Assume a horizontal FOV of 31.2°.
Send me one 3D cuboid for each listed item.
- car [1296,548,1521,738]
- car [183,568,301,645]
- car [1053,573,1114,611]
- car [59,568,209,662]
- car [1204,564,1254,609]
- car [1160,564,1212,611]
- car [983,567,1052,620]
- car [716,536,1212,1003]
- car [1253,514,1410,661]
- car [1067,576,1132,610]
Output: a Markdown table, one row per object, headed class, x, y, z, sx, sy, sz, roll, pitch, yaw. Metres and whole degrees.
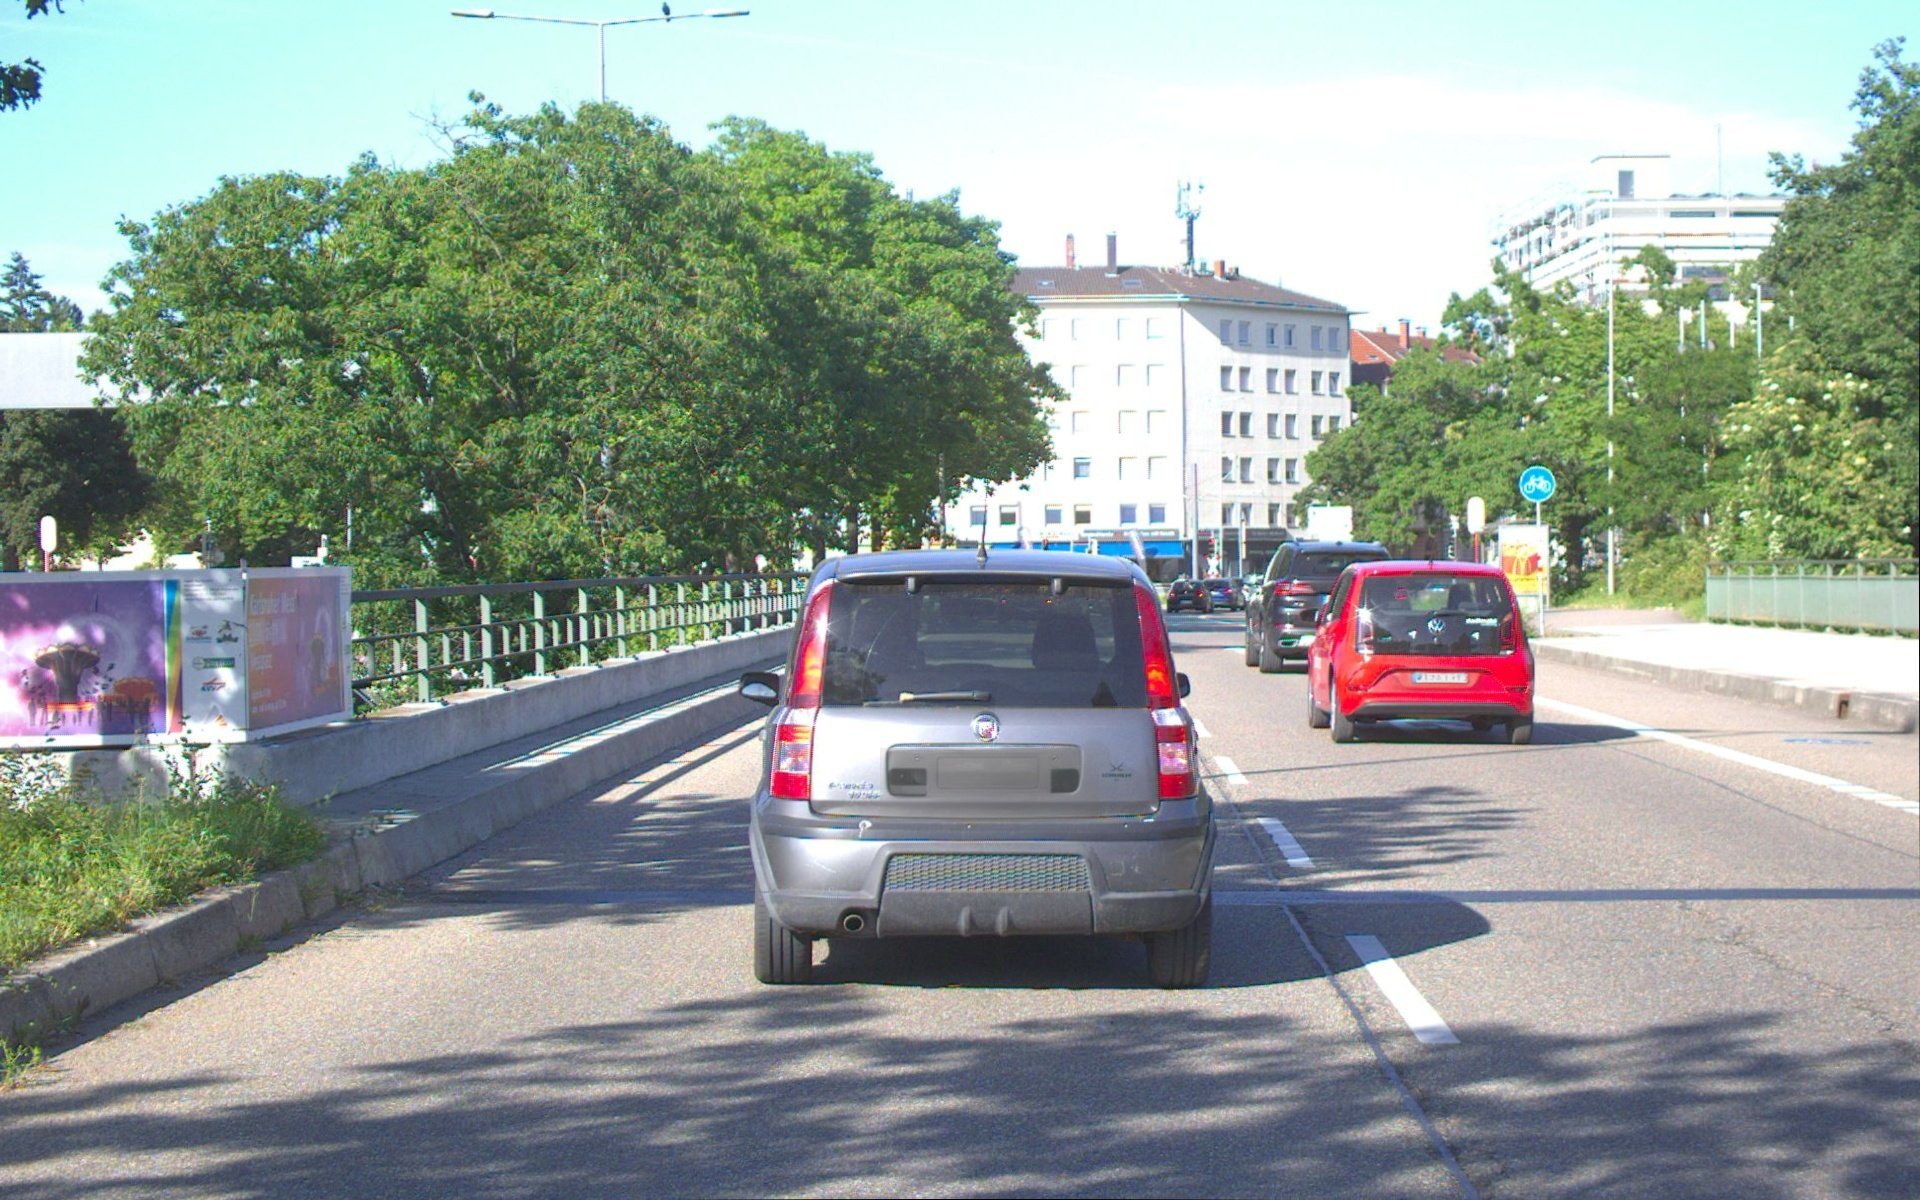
| class | x | y | z | sx | sy | sz | roll | pitch | yaw |
| --- | --- | --- | --- | --- | --- | --- | --- | --- | --- |
| car | 3.707 | 0.311 | 28.926 | 1.617 | 1.458 | 3.750 | 0 | 1 | 3 |
| car | -14.668 | 0.103 | 70.415 | 1.743 | 1.495 | 4.000 | -1 | 1 | -3 |
| car | 5.237 | -0.345 | 145.497 | 1.946 | 1.523 | 4.095 | 0 | 1 | 12 |
| car | -13.944 | 0.222 | 58.220 | 1.743 | 1.495 | 4.000 | -1 | 1 | -3 |
| car | 11.869 | -0.592 | 151.435 | 1.945 | 1.834 | 4.152 | -4 | -1 | 6 |
| car | 9.536 | -0.524 | 144.828 | 1.945 | 1.834 | 4.152 | -4 | -1 | 6 |
| car | 1.725 | -0.200 | 102.243 | 1.945 | 1.523 | 4.097 | 0 | 1 | 2 |
| car | 0.050 | 0.520 | 13.145 | 1.617 | 1.510 | 3.820 | 0 | 1 | 1 |
| car | 4.914 | -0.152 | 45.814 | 1.945 | 1.834 | 4.152 | 1 | 0 | 5 |
| car | 6.331 | -0.326 | 155.484 | 1.947 | 1.523 | 4.094 | 0 | 1 | 17 |
